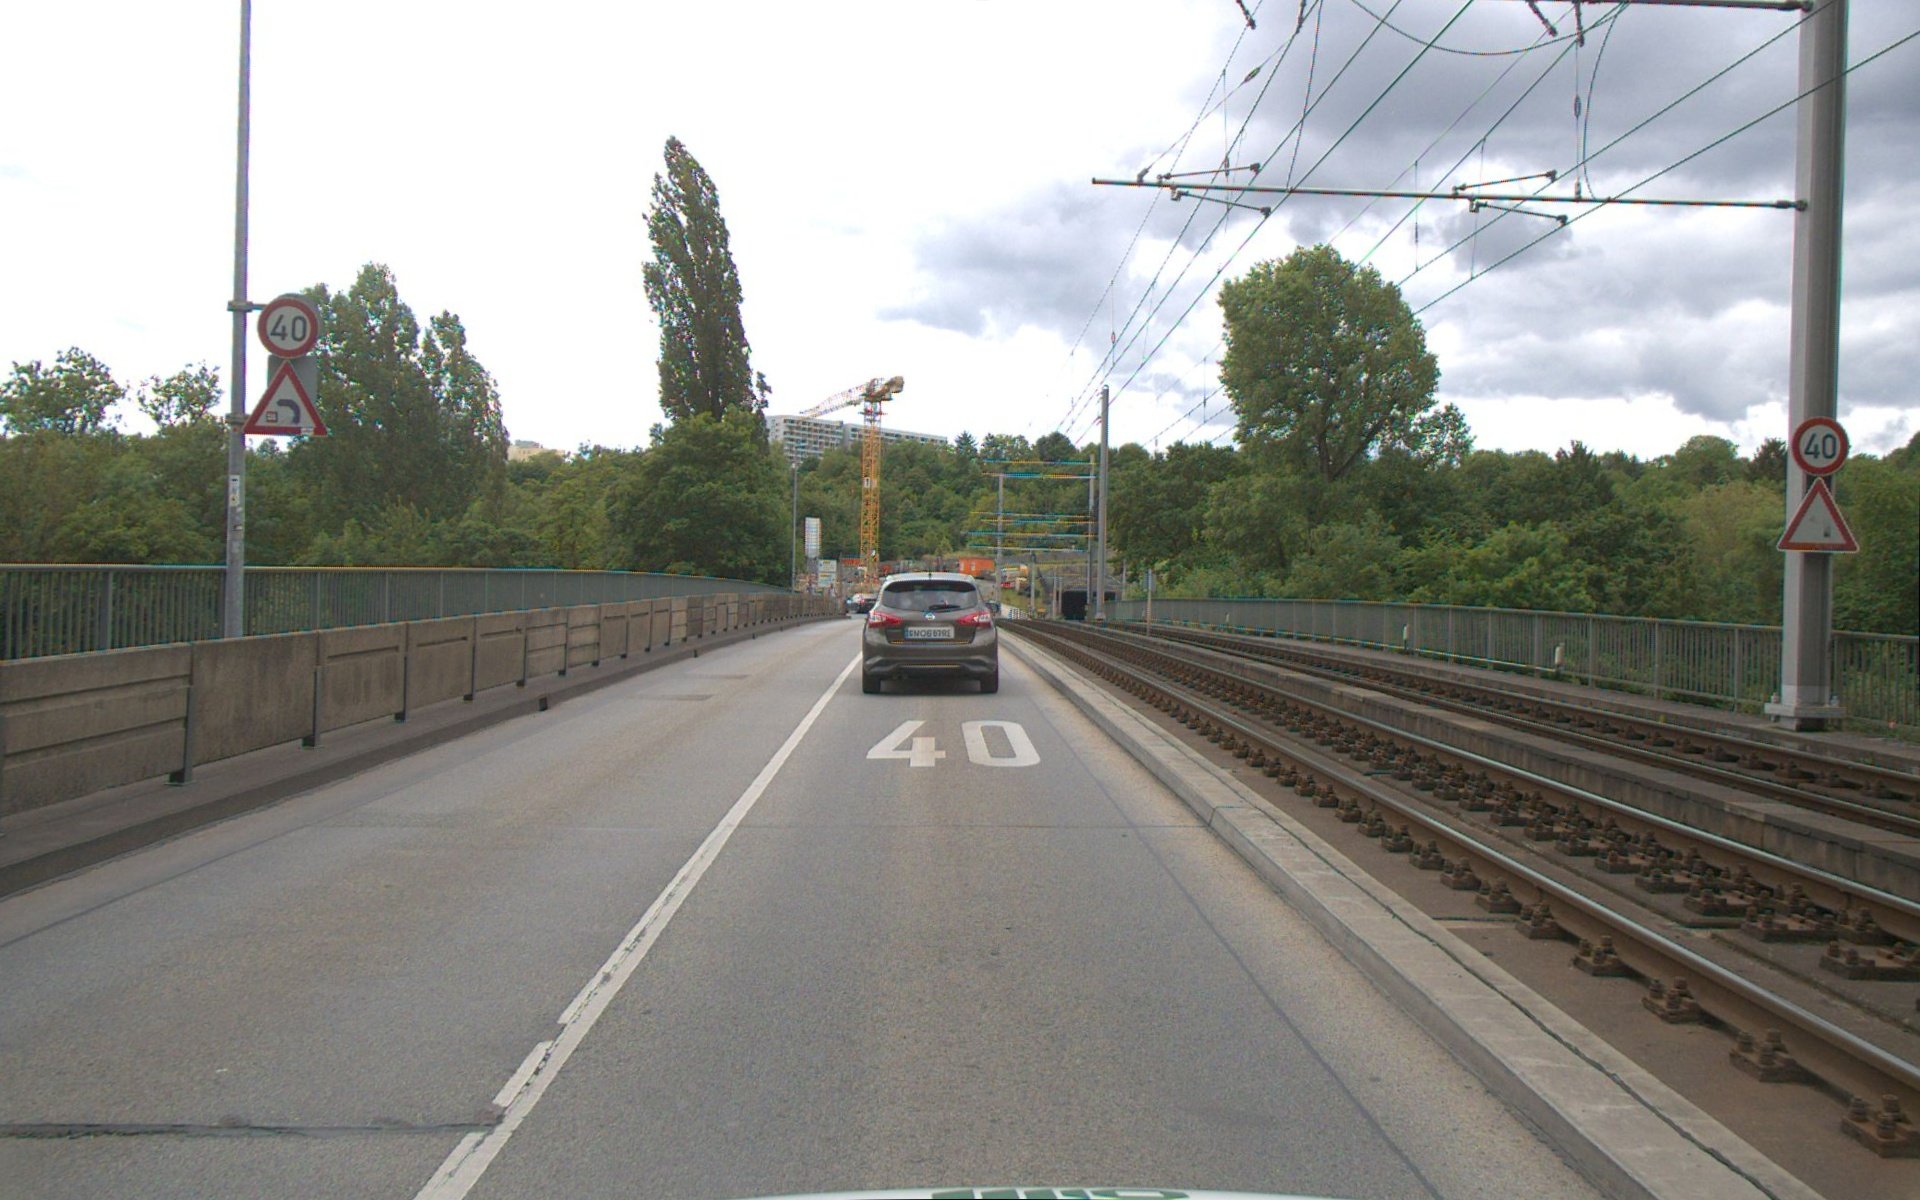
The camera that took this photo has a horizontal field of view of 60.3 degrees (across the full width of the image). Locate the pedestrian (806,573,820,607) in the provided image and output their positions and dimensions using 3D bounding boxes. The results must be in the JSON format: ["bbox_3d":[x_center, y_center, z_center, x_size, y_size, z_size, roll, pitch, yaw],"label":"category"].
[{"bbox_3d":[-8.015,-0.552,90.375,0.706,1.872,0.723,1,0,-2],"label":"pedestrian"}]

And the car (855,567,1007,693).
[{"bbox_3d":[-0.479,0.375,22.319,1.794,1.536,3.996,0,0,-5],"label":"car"}]

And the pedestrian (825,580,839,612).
[{"bbox_3d":[-6.914,-0.219,89.559,0.706,1.731,0.723,1,0,-2],"label":"pedestrian"}]
